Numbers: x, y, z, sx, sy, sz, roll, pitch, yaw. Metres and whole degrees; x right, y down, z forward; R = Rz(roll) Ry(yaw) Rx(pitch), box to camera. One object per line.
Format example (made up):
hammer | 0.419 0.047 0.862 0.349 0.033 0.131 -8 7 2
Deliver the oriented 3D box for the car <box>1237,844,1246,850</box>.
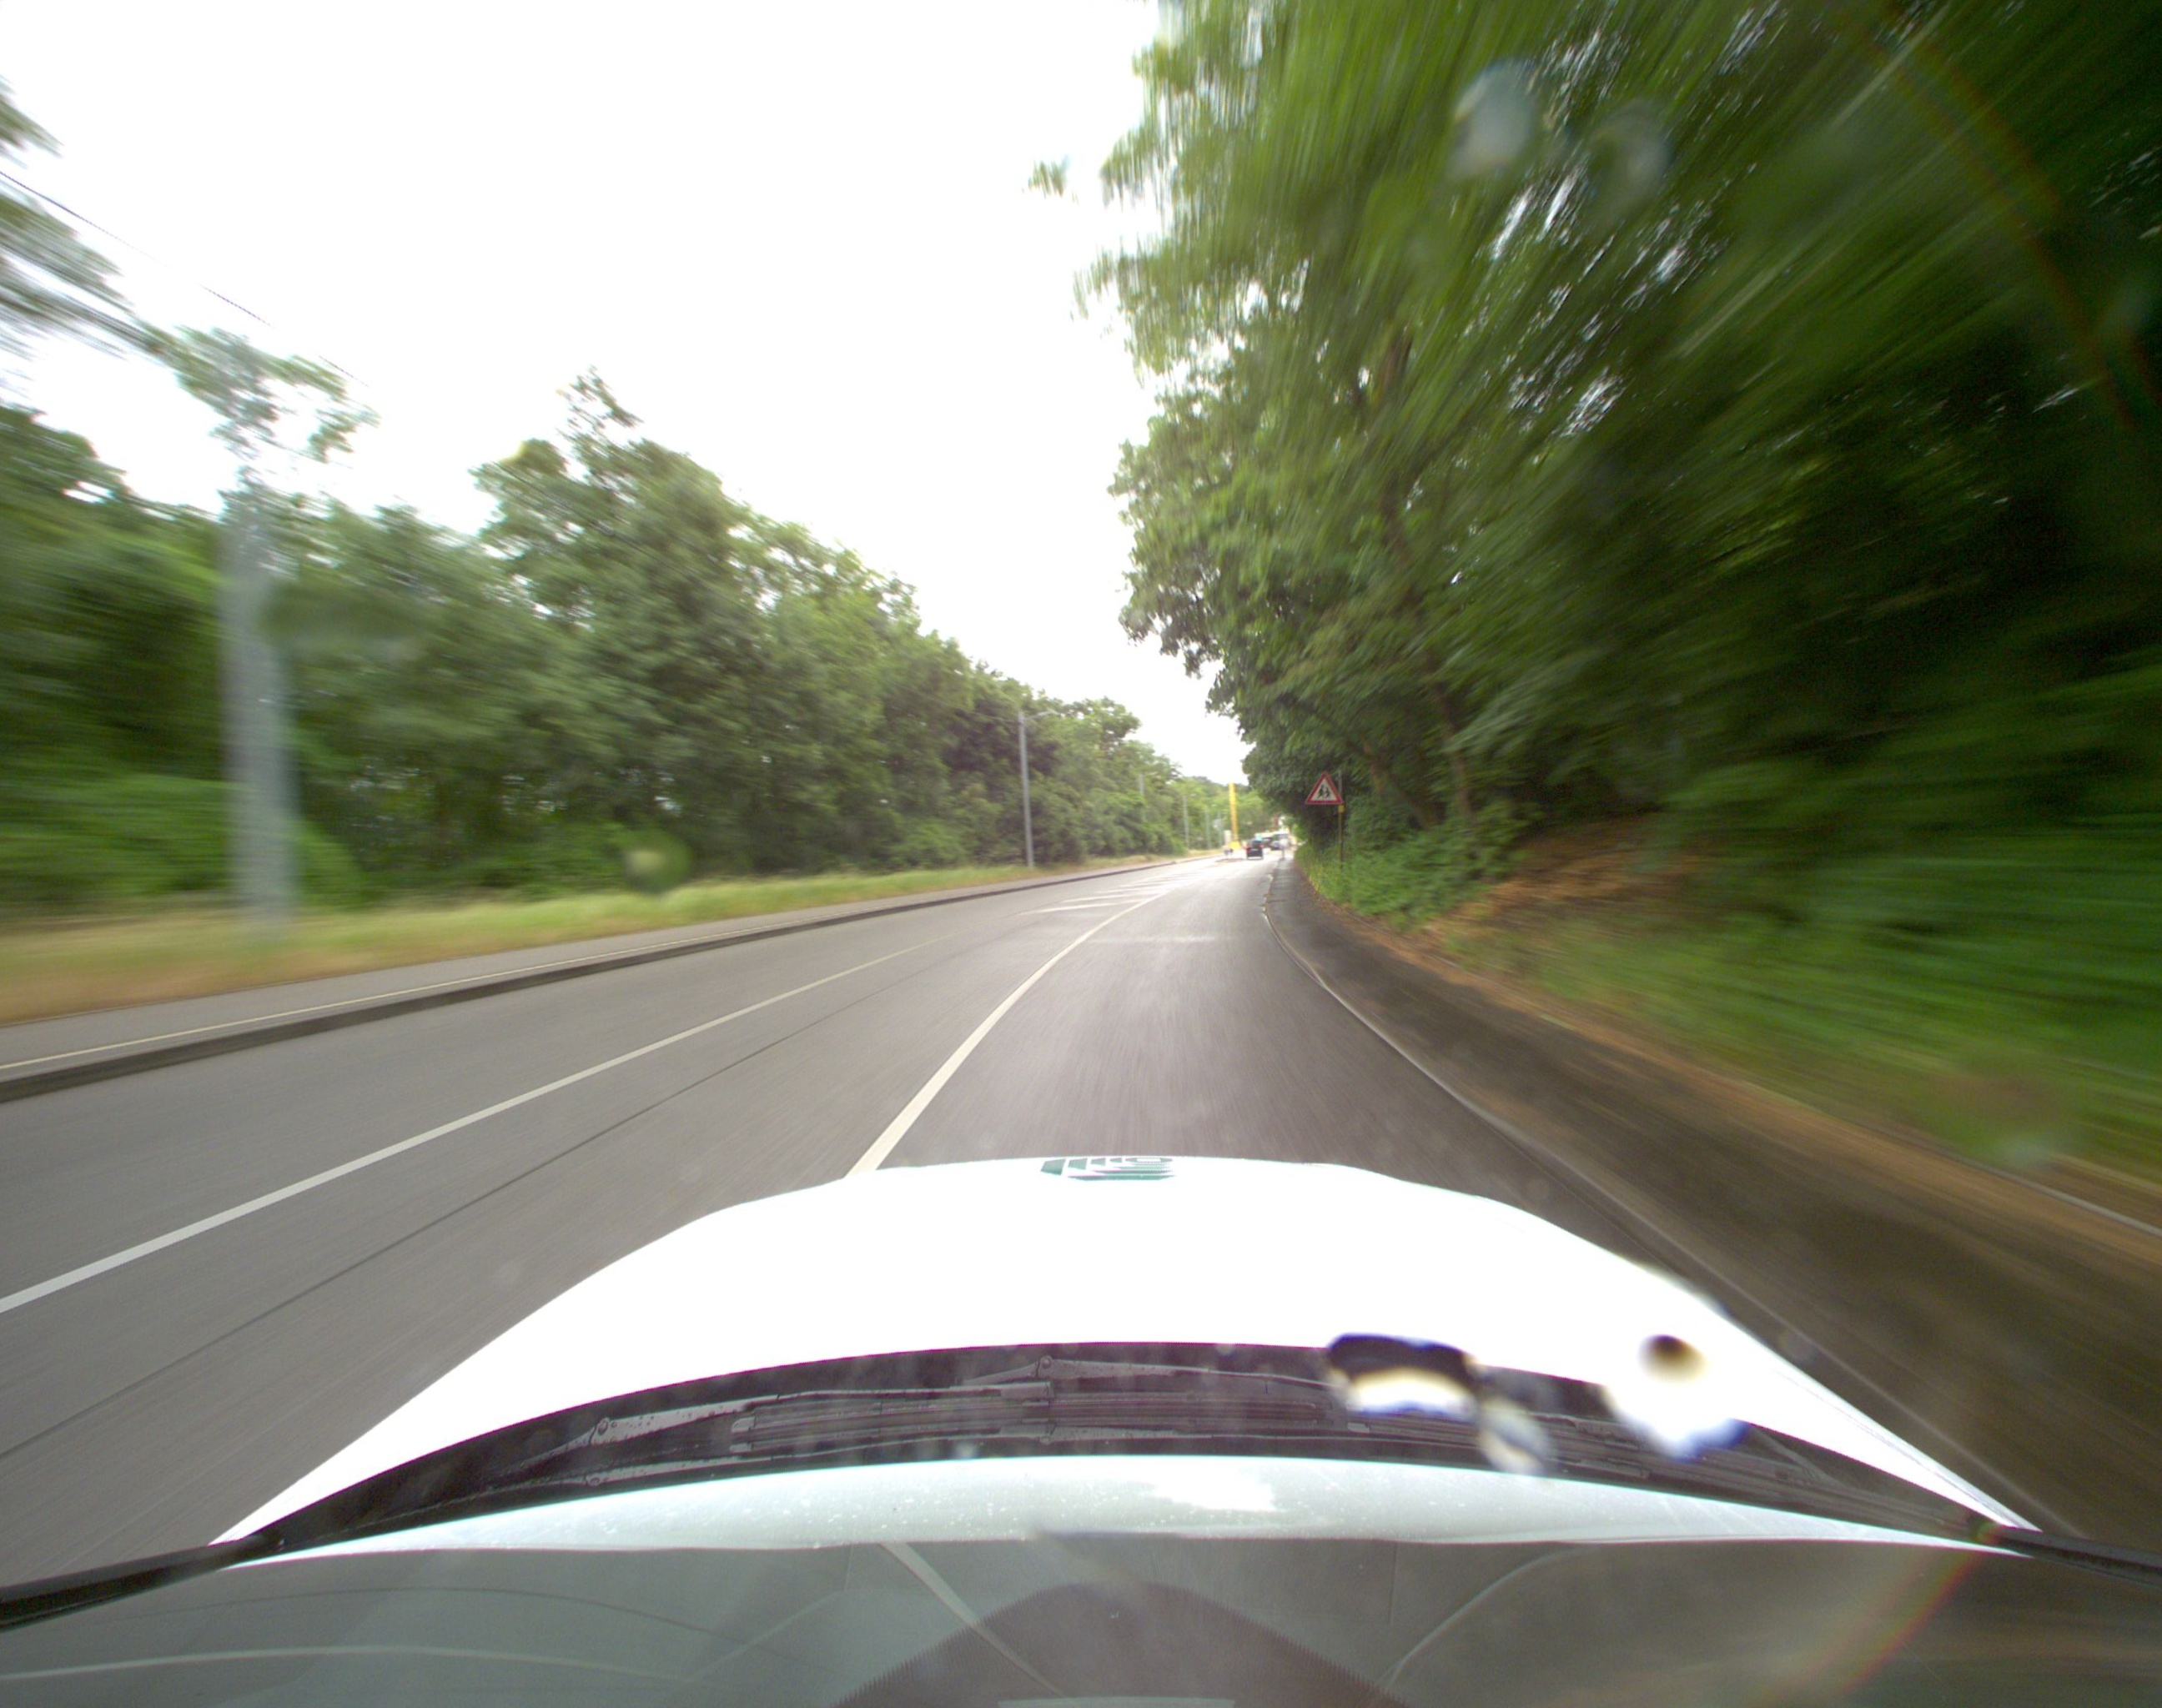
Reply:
car | 48.451 -2.044 245.793 1.734 1.552 3.856 -3 0 1

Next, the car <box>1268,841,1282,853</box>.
car | 30.829 -1.100 129.264 1.979 1.772 4.131 -1 0 15

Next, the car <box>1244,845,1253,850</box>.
car | 48.861 -1.832 237.942 1.734 1.552 3.856 -1 0 1

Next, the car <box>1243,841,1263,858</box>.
car | 16.462 -0.474 78.010 1.655 1.593 3.697 0 0 15
